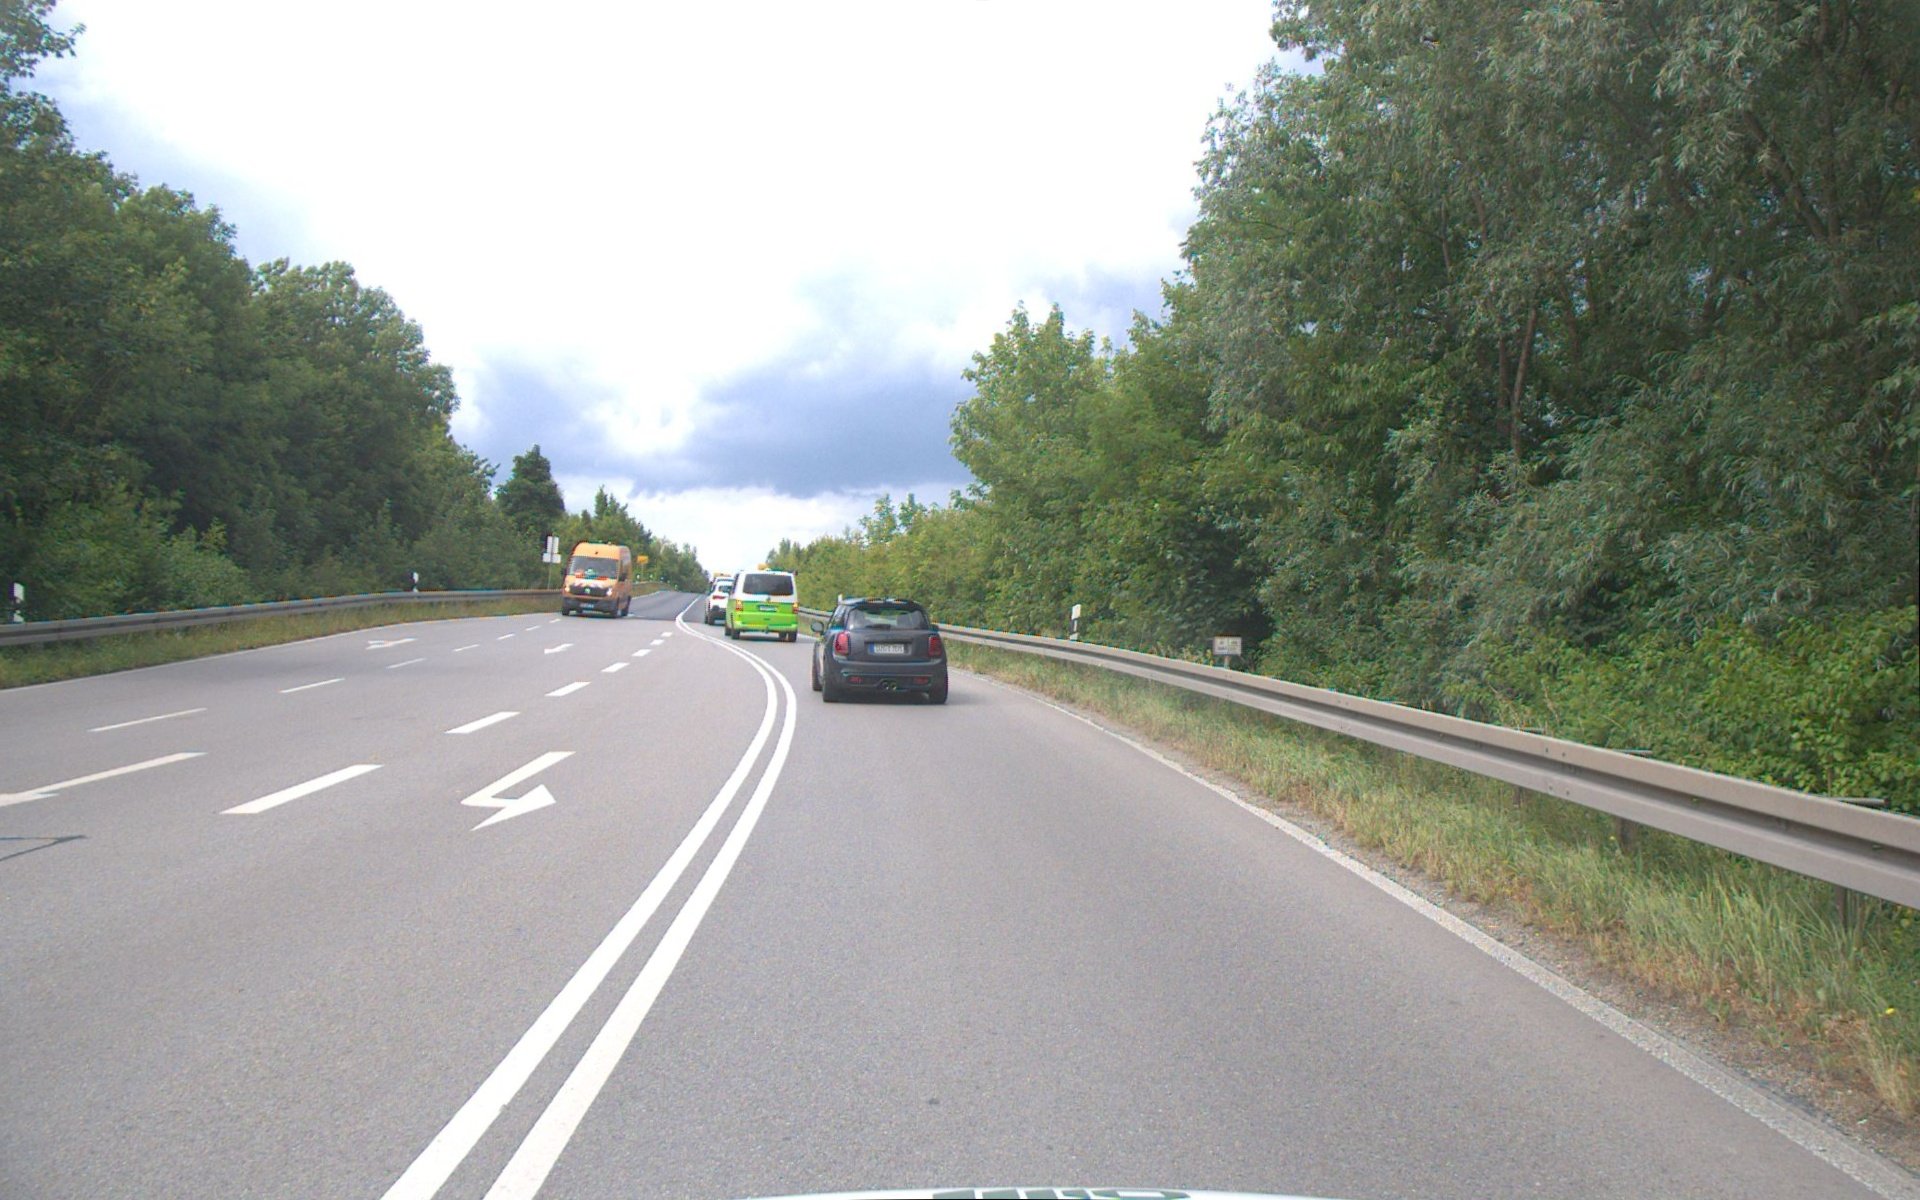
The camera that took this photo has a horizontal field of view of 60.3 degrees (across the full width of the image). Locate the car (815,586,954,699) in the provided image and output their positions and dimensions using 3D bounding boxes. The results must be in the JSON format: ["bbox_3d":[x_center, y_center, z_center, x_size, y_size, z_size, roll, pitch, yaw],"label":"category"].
[{"bbox_3d":[-1.177,0.561,24.053,1.699,1.481,3.994,1,0,-7],"label":"car"}]

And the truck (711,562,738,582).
[{"bbox_3d":[-30.285,-3.547,212.708,2.853,2.413,10.440,1,1,-5],"label":"truck"}]

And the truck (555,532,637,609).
[{"bbox_3d":[-13.364,-1.074,61.060,2.272,2.646,6.015,1,1,-7],"label":"truck"}]

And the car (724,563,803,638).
[{"bbox_3d":[-5.741,-0.014,47.930,1.986,2.048,3.990,1,1,-11],"label":"car"}]

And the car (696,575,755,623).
[{"bbox_3d":[-8.492,-0.066,60.277,1.950,1.646,4.148,1,1,-6],"label":"car"}]

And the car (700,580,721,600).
[{"bbox_3d":[-24.018,-0.962,159.498,1.956,1.829,3.992,1,0,-8],"label":"car"}]
